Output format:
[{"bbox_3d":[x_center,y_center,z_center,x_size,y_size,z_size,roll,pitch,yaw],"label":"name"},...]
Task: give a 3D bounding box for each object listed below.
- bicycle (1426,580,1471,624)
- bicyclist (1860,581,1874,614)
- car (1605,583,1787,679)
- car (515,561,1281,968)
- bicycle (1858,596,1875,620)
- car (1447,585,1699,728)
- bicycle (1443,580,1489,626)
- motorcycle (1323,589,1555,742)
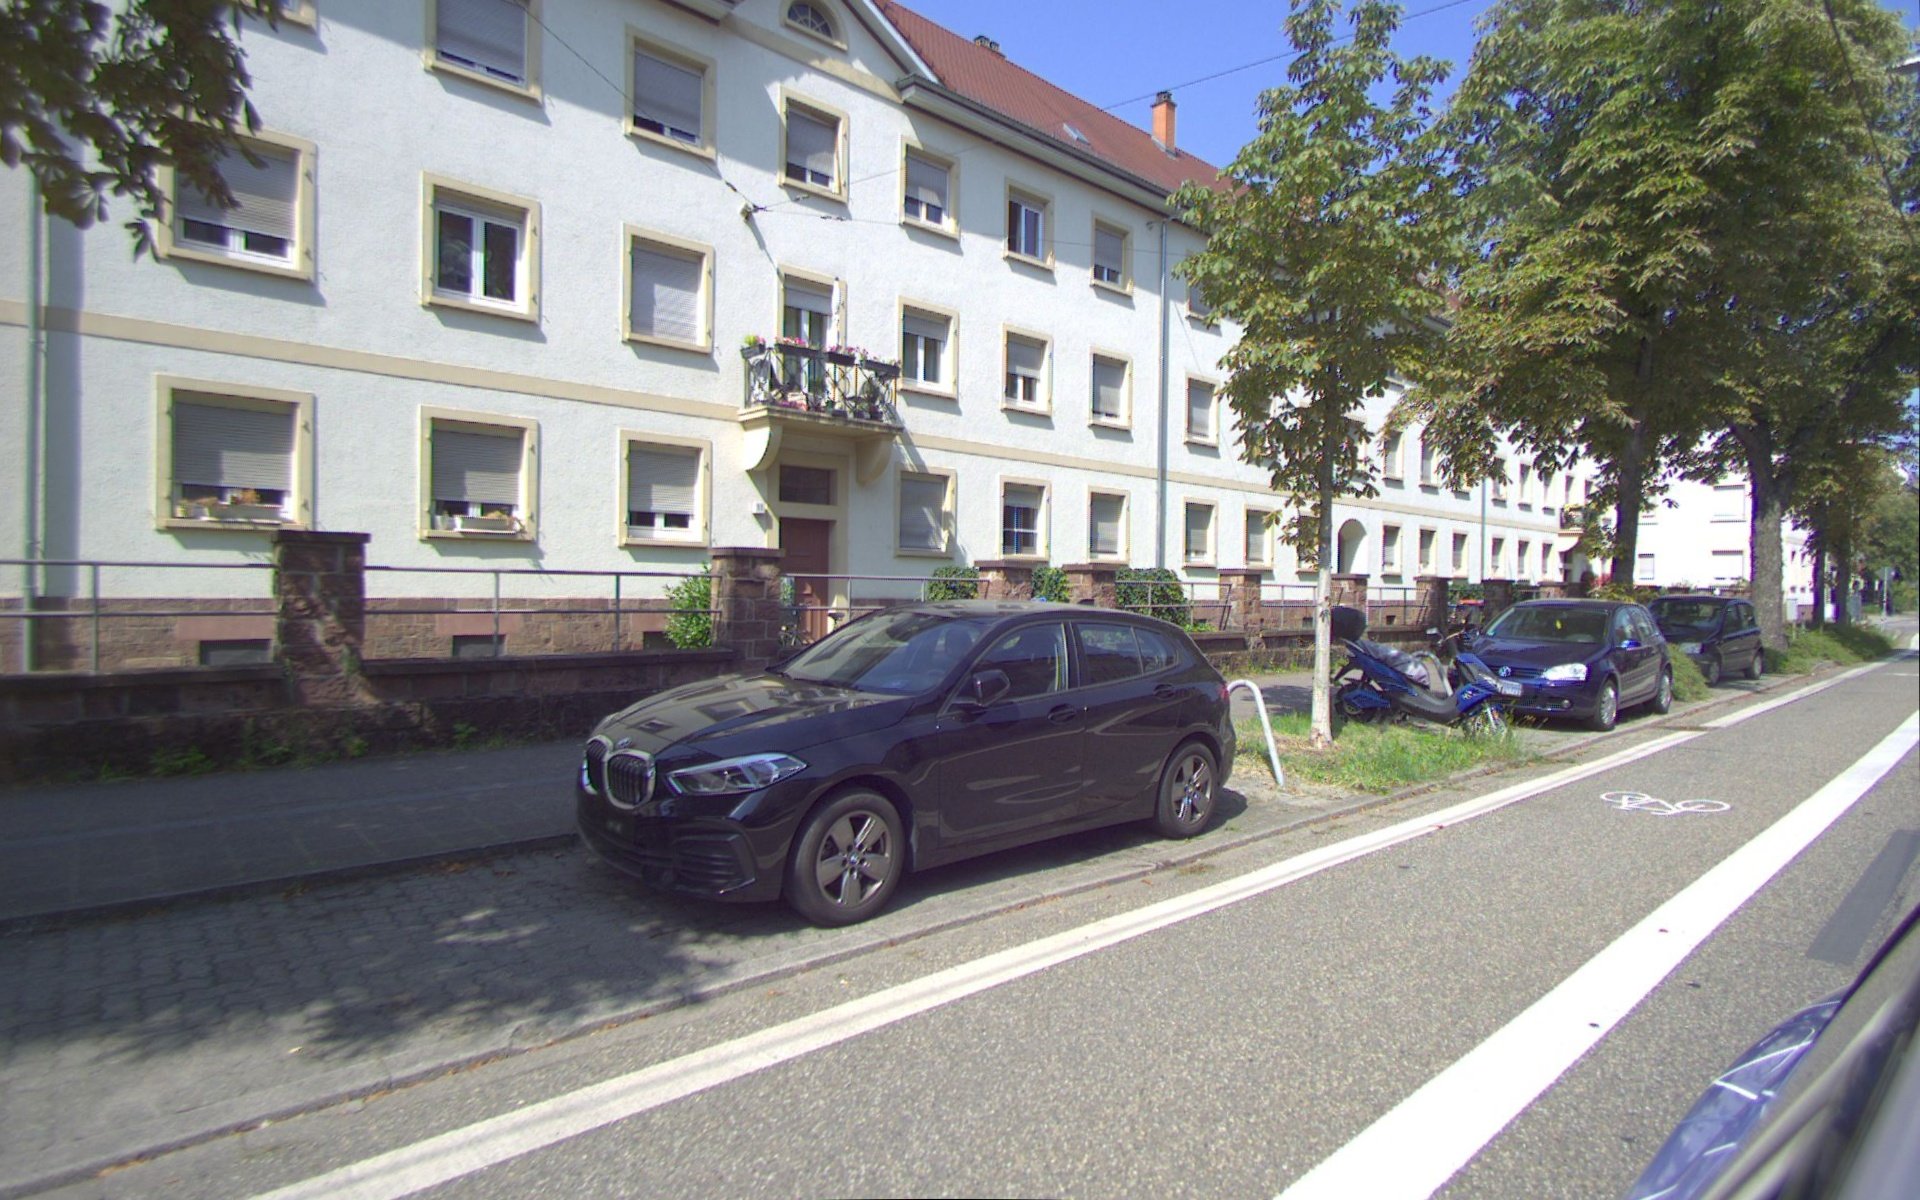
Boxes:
[{"bbox_3d":[12.642,0.045,26.180,1.688,1.106,0.468,-1,2,-43],"label":"bicycle"},{"bbox_3d":[42.810,-0.113,47.752,0.464,1.530,0.438,0,1,-43],"label":"bicyclist"},{"bbox_3d":[13.472,0.500,18.488,3.432,1.549,1.623,0,3,-35],"label":"car"},{"bbox_3d":[-0.086,0.582,6.035,4.381,1.494,1.759,-1,6,-42],"label":"car"},{"bbox_3d":[42.758,0.367,47.714,1.798,1.060,0.440,-1,2,-44],"label":"bicycle"},{"bbox_3d":[7.921,0.593,12.944,3.969,1.495,1.620,-1,3,-42],"label":"car"},{"bbox_3d":[12.806,0.064,25.574,1.688,1.106,0.468,-1,2,-43],"label":"bicycle"},{"bbox_3d":[4.865,0.598,10.394,0.769,1.385,2.005,0,2,-44],"label":"motorcycle"}]
